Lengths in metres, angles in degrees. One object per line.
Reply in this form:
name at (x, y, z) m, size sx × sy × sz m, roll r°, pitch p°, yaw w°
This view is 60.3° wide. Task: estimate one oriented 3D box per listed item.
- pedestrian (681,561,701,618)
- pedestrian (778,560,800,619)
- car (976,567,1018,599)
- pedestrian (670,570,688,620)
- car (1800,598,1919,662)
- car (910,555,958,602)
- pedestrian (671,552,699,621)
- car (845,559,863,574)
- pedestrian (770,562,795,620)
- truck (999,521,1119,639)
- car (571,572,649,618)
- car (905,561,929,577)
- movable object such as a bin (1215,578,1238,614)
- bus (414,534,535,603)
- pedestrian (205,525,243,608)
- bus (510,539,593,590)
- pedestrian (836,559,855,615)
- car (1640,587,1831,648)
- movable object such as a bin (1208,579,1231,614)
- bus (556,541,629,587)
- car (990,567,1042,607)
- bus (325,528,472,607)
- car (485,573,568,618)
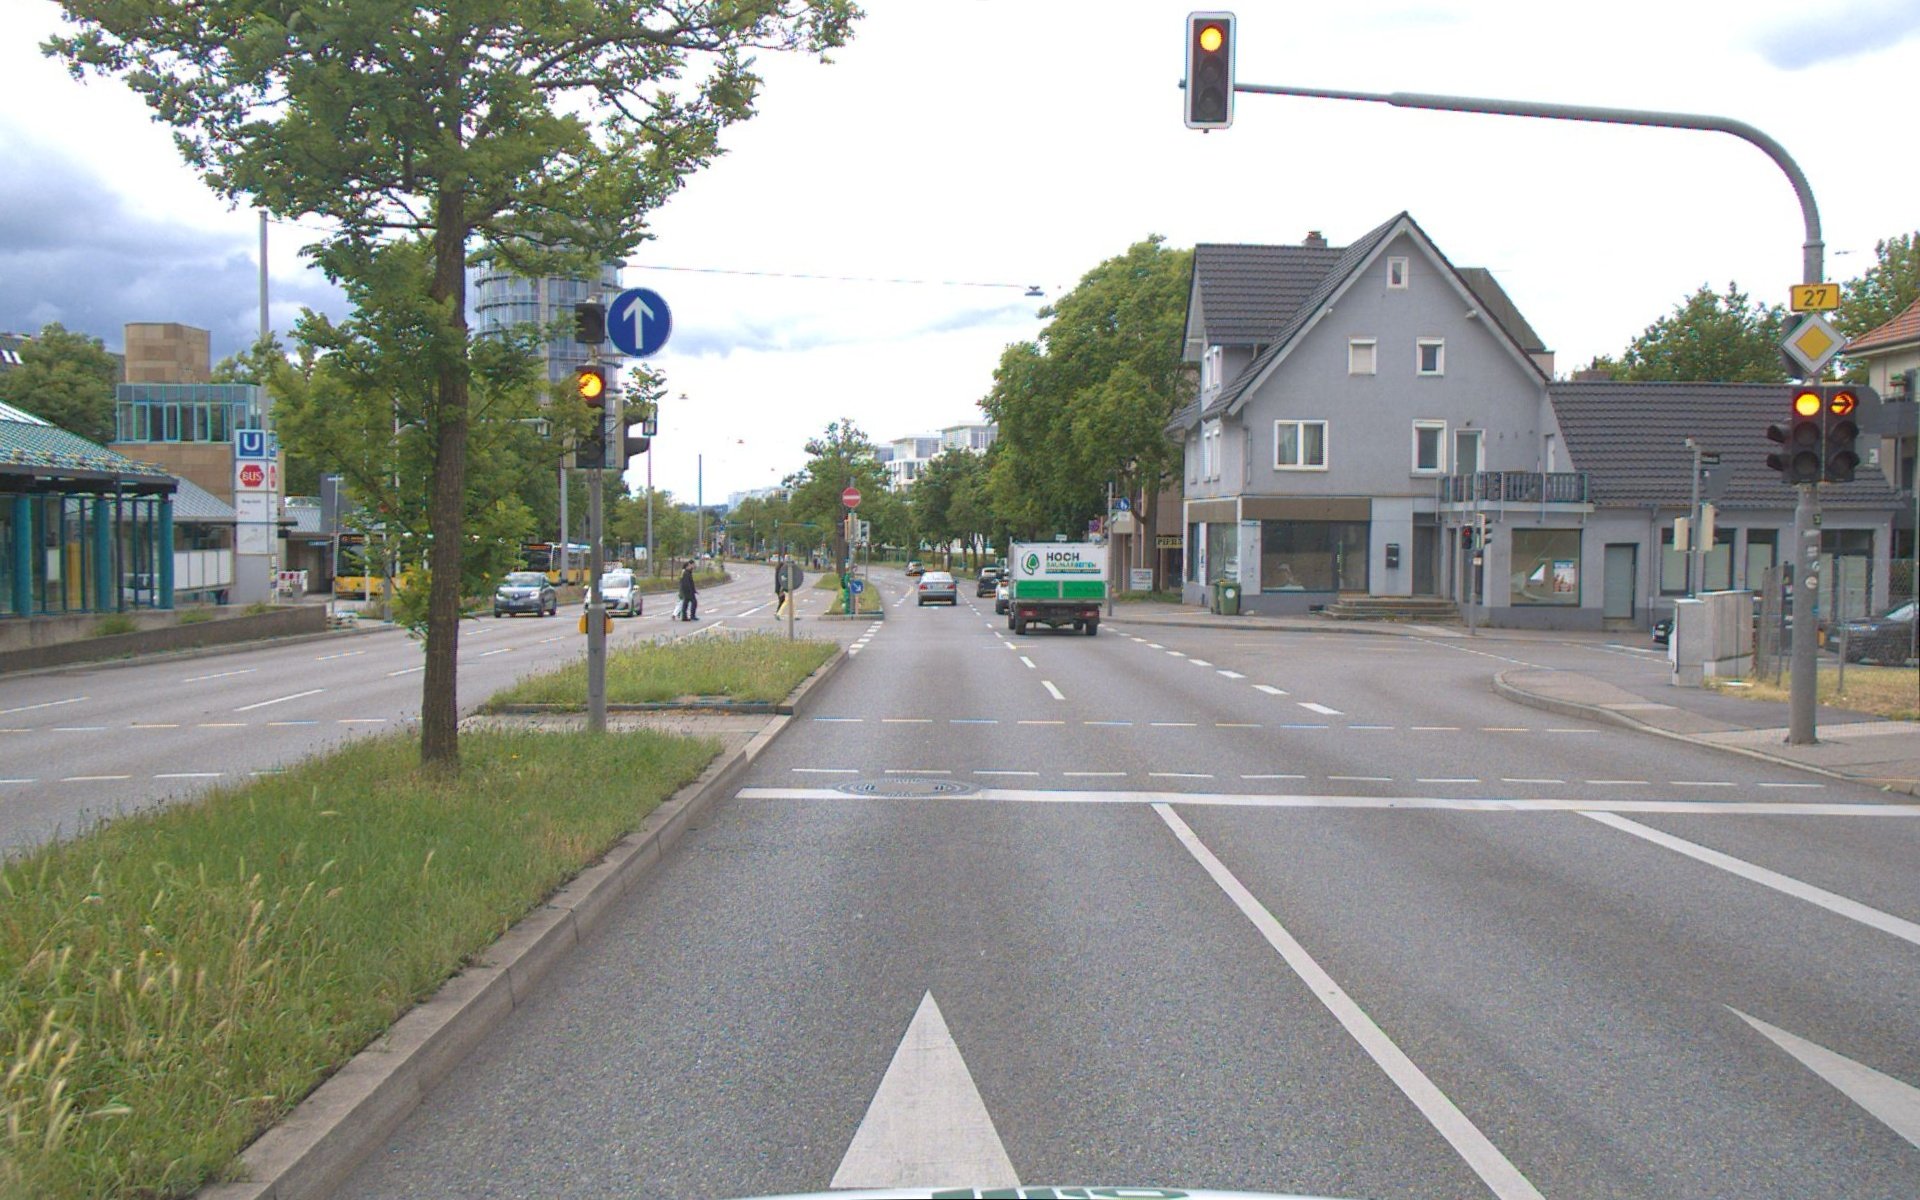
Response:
pedestrian at (-8.293, -0.335, 50.992) m, size 0.601 × 1.746 × 0.545 m, roll 0°, pitch 0°, yaw -8°
pedestrian at (-5.160, -0.317, 49.879) m, size 0.641 × 1.746 × 0.451 m, roll 0°, pitch 0°, yaw -8°
car at (1.881, -0.892, 84.917) m, size 1.953 × 1.579 × 4.000 m, roll 1°, pitch 1°, yaw -1°
pedestrian at (-8.552, -0.148, 50.338) m, size 0.533 × 1.522 × 0.486 m, roll 0°, pitch 0°, yaw -8°
car at (22.213, 0.716, 38.886) m, size 4.006 × 1.395 × 1.799 m, roll 2°, pitch 1°, yaw -2°
car at (-1.073, -0.925, 69.807) m, size 1.953 × 1.862 × 4.000 m, roll 0°, pitch 2°, yaw -1°
pedestrian at (-8.224, -0.395, 49.485) m, size 0.814 × 2.049 × 0.545 m, roll 0°, pitch 0°, yaw -8°
car at (-11.704, -3.703, 183.023) m, size 1.954 × 1.545 × 3.997 m, roll 0°, pitch 1°, yaw -4°
pedestrian at (-5.437, -0.283, 50.665) m, size 0.731 × 1.746 × 0.582 m, roll 0°, pitch 0°, yaw -8°
truck at (2.354, -0.568, 41.290) m, size 2.421 × 2.656 × 6.547 m, roll 1°, pitch 2°, yaw -1°
car at (-12.165, -0.197, 57.683) m, size 1.953 × 1.512 × 3.999 m, roll 0°, pitch 1°, yaw -2°
car at (-4.496, -3.228, 171.869) m, size 1.957 × 1.579 × 3.992 m, roll 0°, pitch 1°, yaw -9°
movable object such as a bin at (8.169, -0.134, 50.770) m, size 0.592 × 1.078 × 0.589 m, roll 1°, pitch 1°, yaw 1°
bus at (-25.971, -1.658, 89.142) m, size 2.772 × 3.490 × 10.739 m, roll 0°, pitch 1°, yaw 3°
pedestrian at (-18.263, -0.832, 41.045) m, size 0.668 × 2.049 × 0.645 m, roll 0°, pitch 0°, yaw -5°
bus at (-29.719, -2.553, 120.726) m, size 2.772 × 3.490 × 10.739 m, roll 0°, pitch 1°, yaw 3°
pedestrian at (-3.615, -0.412, 52.226) m, size 0.572 × 1.746 × 0.545 m, roll 0°, pitch 0°, yaw -8°
car at (19.724, 0.428, 42.168) m, size 4.006 × 1.395 × 1.799 m, roll 2°, pitch 1°, yaw -2°
movable object such as a bin at (8.089, -0.122, 51.624) m, size 0.603 × 1.061 × 0.589 m, roll 1°, pitch 1°, yaw 1°
bus at (-29.085, -2.805, 131.471) m, size 2.772 × 3.490 × 10.739 m, roll 0°, pitch 1°, yaw 3°
car at (2.314, -0.543, 69.203) m, size 1.953 × 1.579 × 4.000 m, roll 1°, pitch 1°, yaw -1°
bus at (-26.571, -1.523, 79.009) m, size 2.772 × 3.490 × 10.739 m, roll 0°, pitch 1°, yaw 3°
car at (-15.194, -0.180, 58.115) m, size 1.953 × 1.512 × 3.999 m, roll 0°, pitch 1°, yaw -2°
